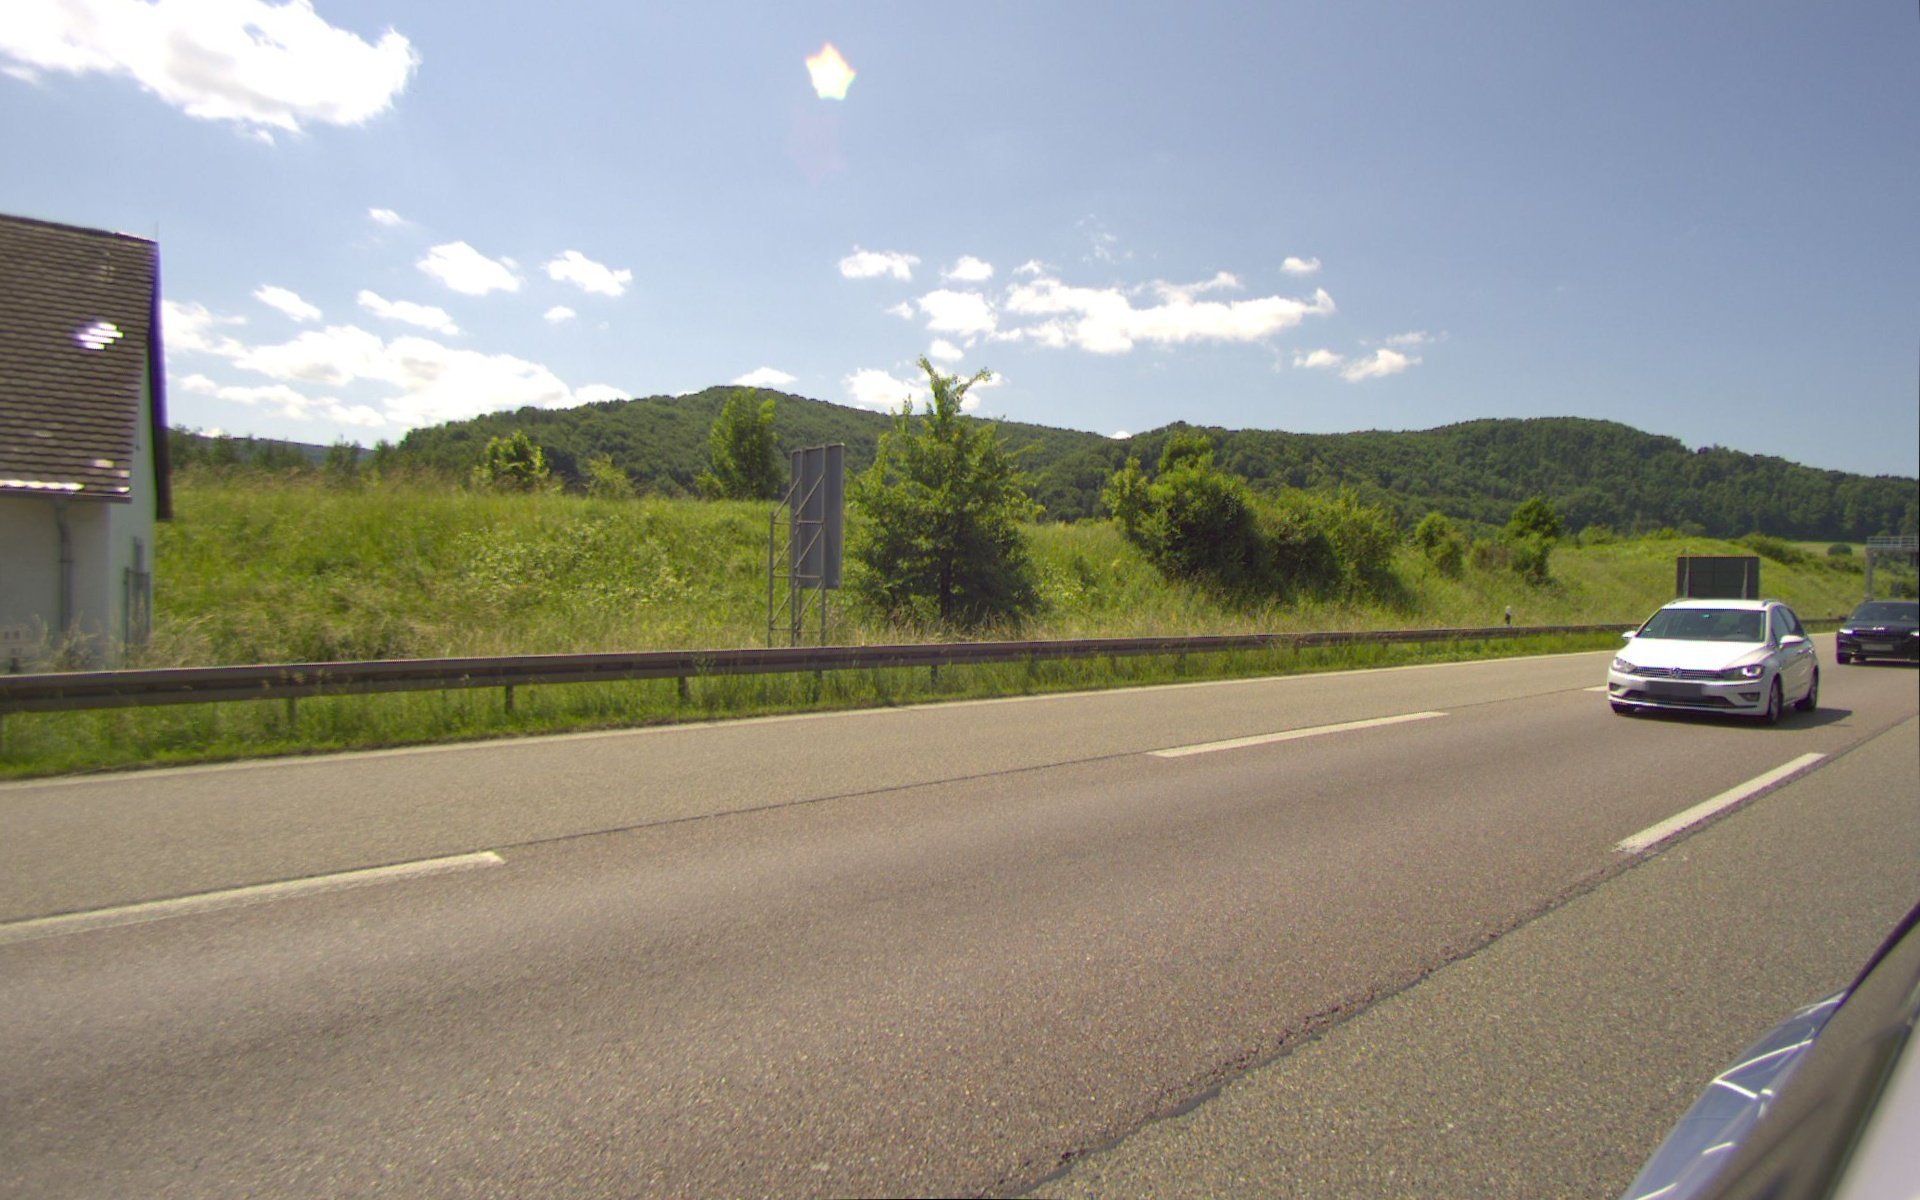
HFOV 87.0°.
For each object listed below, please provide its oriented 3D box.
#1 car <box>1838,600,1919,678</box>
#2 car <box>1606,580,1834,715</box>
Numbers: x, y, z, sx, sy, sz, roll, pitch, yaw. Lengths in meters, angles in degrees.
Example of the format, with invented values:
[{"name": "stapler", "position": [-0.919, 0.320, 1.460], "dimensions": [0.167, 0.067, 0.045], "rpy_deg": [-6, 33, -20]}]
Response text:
[{"name": "car", "position": [24.039, 0.949, 25.758], "dimensions": [4.096, 1.794, 1.893], "rpy_deg": [0, 1, -40]}, {"name": "car", "position": [10.428, 0.542, 13.785], "dimensions": [3.985, 1.560, 1.775], "rpy_deg": [0, 0, -42]}]
